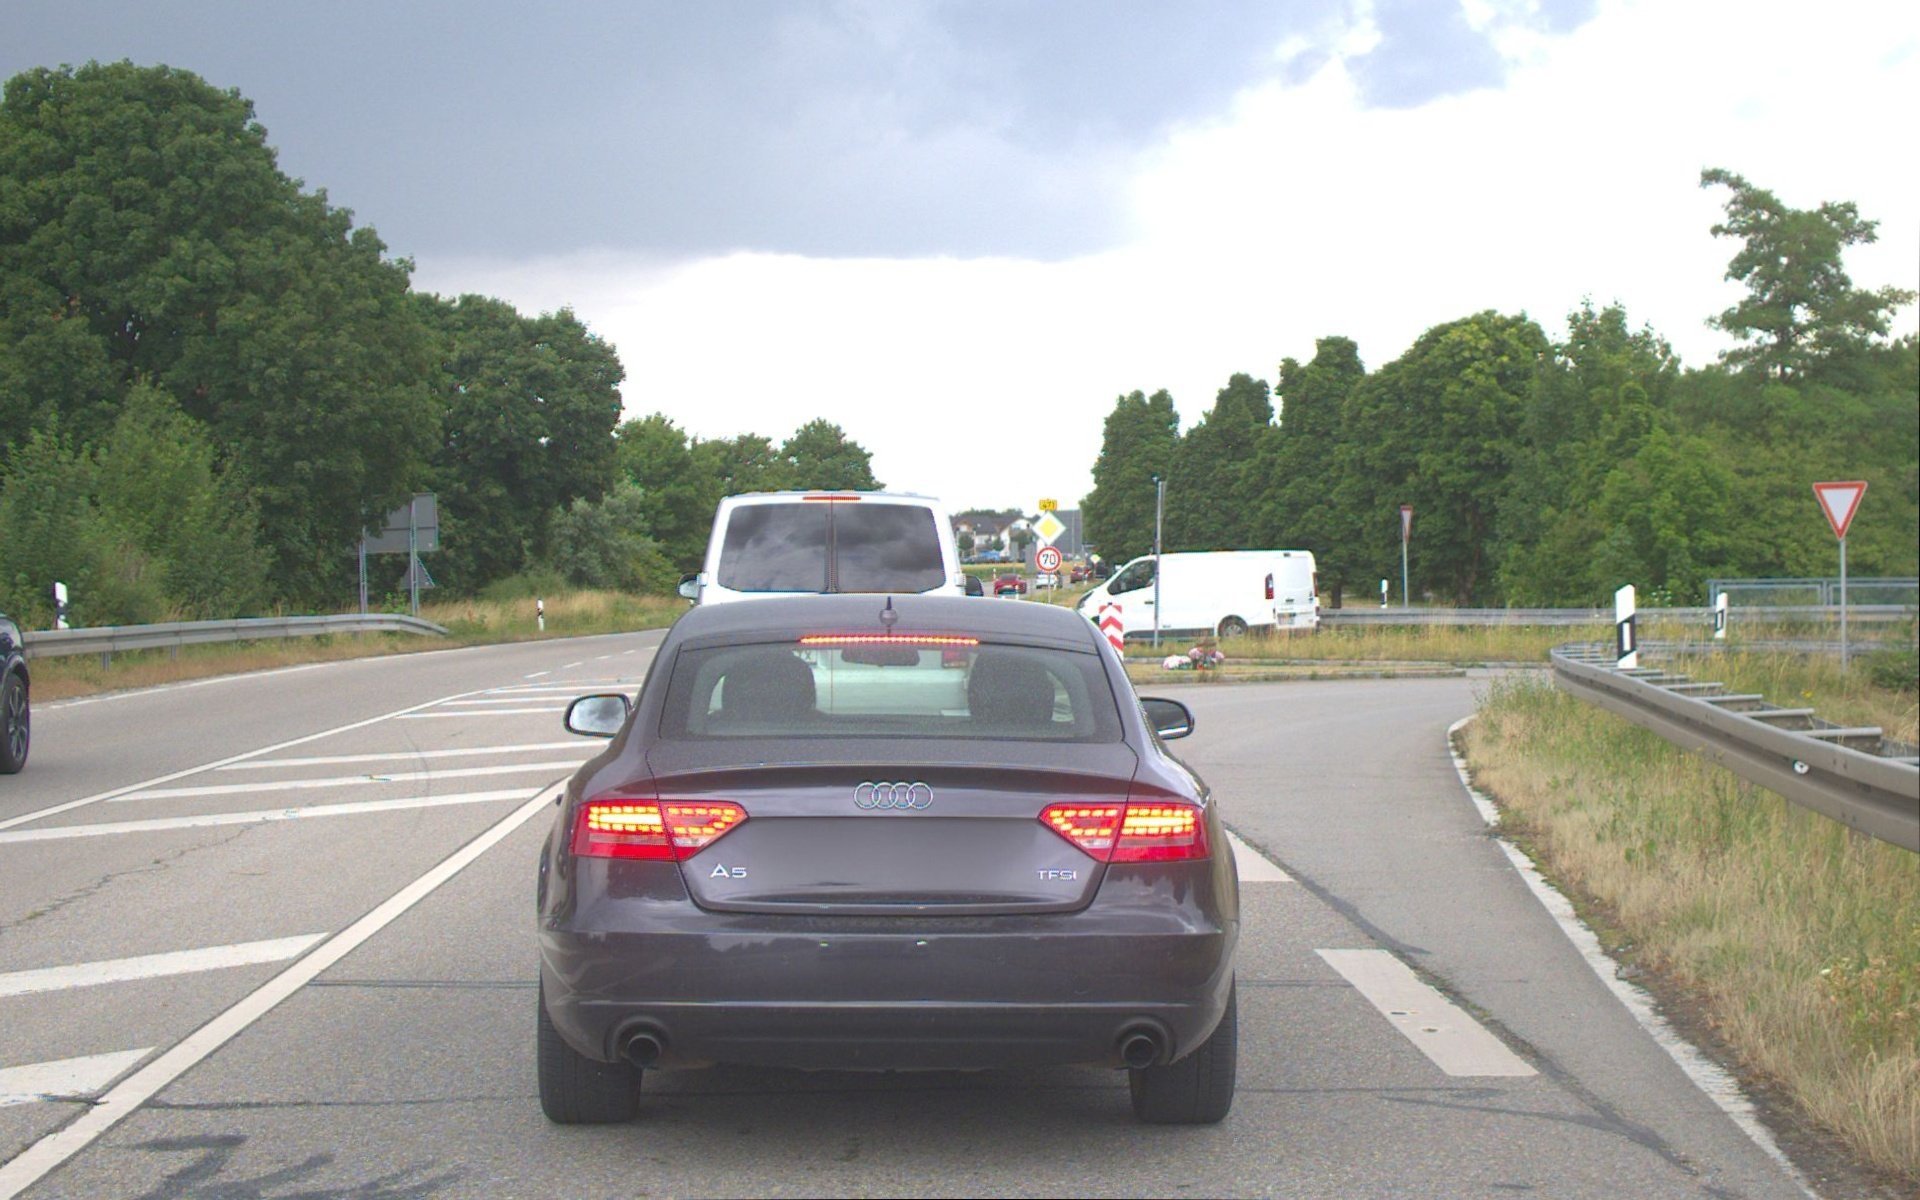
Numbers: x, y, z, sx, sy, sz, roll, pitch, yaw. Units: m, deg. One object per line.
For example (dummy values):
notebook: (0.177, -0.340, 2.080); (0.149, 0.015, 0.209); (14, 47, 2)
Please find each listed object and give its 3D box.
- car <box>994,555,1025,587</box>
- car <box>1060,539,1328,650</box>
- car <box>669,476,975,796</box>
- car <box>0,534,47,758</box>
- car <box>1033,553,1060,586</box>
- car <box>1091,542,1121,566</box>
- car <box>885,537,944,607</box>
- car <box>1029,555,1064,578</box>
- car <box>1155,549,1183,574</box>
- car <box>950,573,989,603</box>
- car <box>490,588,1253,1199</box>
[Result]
car: (3.205, -1.885, 222.311); (1.993, 2.007, 4.000); (1, 1, 1)
car: (4.560, -0.143, 67.380); (4.870, 2.057, 2.083); (1, 1, 36)
car: (-0.935, 0.192, 23.752); (1.910, 2.007, 4.000); (1, 1, -2)
car: (-7.354, 0.323, 22.512); (1.709, 1.513, 4.210); (1, 1, -1)
car: (5.542, -1.969, 220.601); (1.673, 2.007, 3.624); (1, 1, 1)
car: (10.306, -3.265, 243.448); (1.993, 1.686, 4.000); (1, 1, 1)
car: (-1.622, -1.020, 123.593); (1.993, 2.400, 4.000); (2, 1, 0)
car: (6.125, -2.400, 244.290); (2.205, 1.577, 4.379); (1, 1, -2)
car: (14.399, -2.654, 236.483); (1.876, 1.686, 4.000); (1, 1, 4)
car: (0.477, -0.589, 170.882); (1.523, 1.394, 3.182); (0, -1, 7)
car: (-0.264, 0.682, 9.701); (1.779, 1.394, 3.337); (0, 1, -2)
